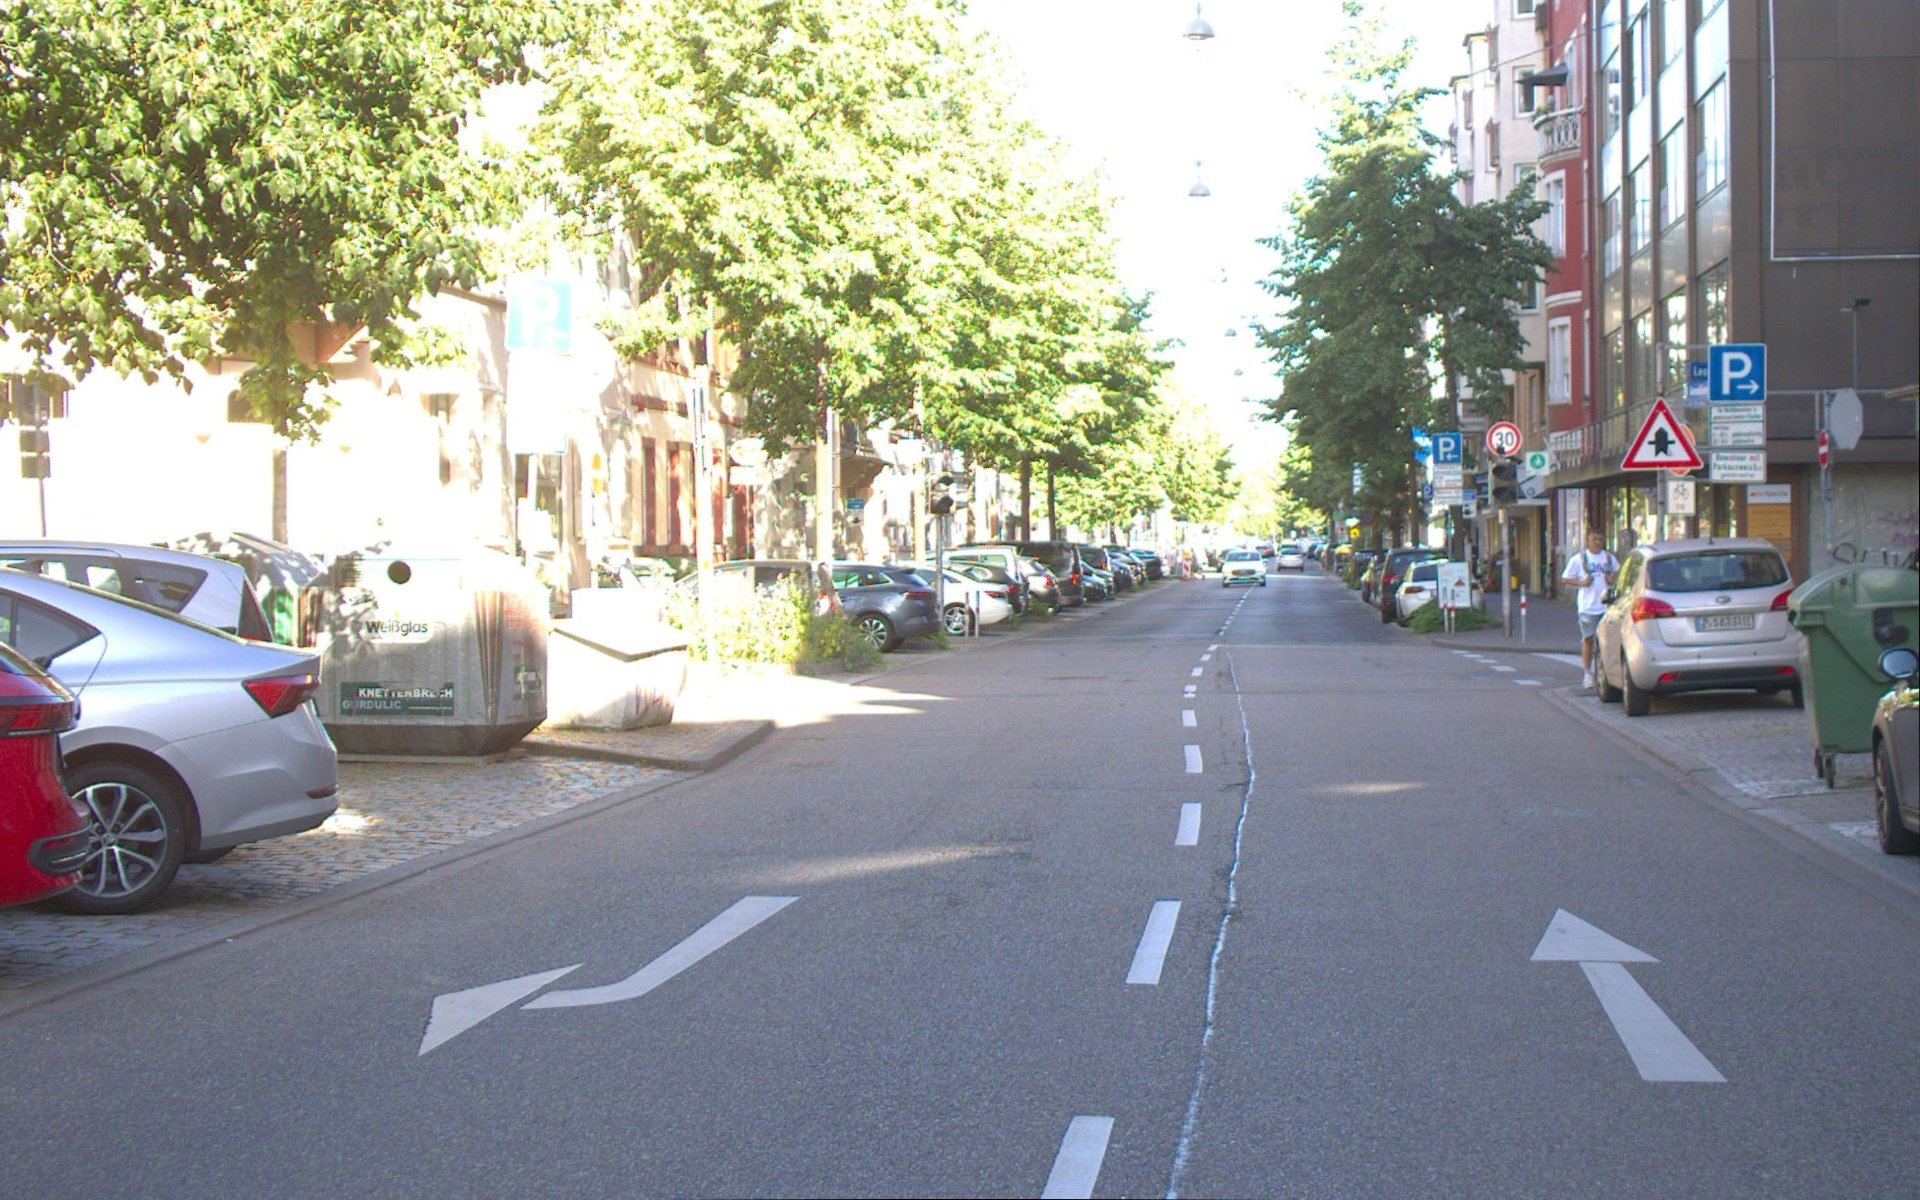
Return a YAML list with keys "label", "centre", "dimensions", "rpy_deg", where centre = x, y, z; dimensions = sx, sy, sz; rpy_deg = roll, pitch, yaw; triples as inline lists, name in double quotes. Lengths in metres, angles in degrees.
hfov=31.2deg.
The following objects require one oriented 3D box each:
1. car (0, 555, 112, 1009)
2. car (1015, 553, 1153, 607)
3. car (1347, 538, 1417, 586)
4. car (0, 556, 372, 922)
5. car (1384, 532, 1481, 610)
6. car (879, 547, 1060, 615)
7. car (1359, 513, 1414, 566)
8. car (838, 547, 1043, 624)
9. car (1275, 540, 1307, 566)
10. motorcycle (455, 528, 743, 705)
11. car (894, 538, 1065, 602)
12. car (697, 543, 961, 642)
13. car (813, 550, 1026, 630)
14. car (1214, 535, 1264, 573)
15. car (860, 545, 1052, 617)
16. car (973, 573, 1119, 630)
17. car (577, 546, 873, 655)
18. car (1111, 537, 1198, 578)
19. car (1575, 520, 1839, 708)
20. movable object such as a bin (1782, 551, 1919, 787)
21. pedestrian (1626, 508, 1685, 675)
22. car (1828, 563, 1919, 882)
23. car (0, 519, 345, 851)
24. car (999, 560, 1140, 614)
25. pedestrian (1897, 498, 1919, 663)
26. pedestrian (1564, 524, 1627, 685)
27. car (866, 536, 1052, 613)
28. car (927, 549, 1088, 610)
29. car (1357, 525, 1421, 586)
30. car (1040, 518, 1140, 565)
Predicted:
- label: "car"
  centre: [-5.372, 0.560, 11.419]
  dimensions: [4.833, 1.483, 1.765]
  rpy_deg: [1, 0, -18]
- label: "car"
  centre: [3.828, -0.612, 105.816]
  dimensions: [3.988, 1.503, 1.999]
  rpy_deg: [2, 0, 9]
- label: "car"
  centre: [13.075, -1.181, 106.705]
  dimensions: [1.994, 1.448, 3.999]
  rpy_deg: [0, 1, 5]
- label: "car"
  centre: [-4.763, 0.539, 14.347]
  dimensions: [4.220, 1.472, 1.736]
  rpy_deg: [1, 0, -25]
- label: "car"
  centre: [10.244, -0.610, 74.496]
  dimensions: [1.994, 1.612, 4.009]
  rpy_deg: [1, 0, 8]
- label: "car"
  centre: [0.242, -0.452, 80.197]
  dimensions: [3.988, 1.503, 1.999]
  rpy_deg: [1, 0, 7]
- label: "car"
  centre: [16.598, -2.347, 133.898]
  dimensions: [1.994, 2.007, 3.999]
  rpy_deg: [0, 1, 5]
- label: "car"
  centre: [-0.378, -0.299, 70.413]
  dimensions: [3.988, 1.503, 1.999]
  rpy_deg: [1, 0, 7]
- label: "car"
  centre: [20.528, -2.898, 213.115]
  dimensions: [1.871, 1.550, 3.999]
  rpy_deg: [1, 0, 6]
- label: "motorcycle"
  centre: [-3.372, 0.158, 32.068]
  dimensions: [2.475, 1.599, 0.998]
  rpy_deg: [-1, 1, 24]
- label: "car"
  centre: [0.504, -0.739, 84.113]
  dimensions: [3.988, 1.503, 1.894]
  rpy_deg: [1, 0, 7]
- label: "car"
  centre: [-2.085, -0.125, 55.451]
  dimensions: [3.988, 1.503, 1.999]
  rpy_deg: [1, 0, 7]
- label: "car"
  centre: [-0.774, -0.196, 68.136]
  dimensions: [3.988, 1.503, 1.999]
  rpy_deg: [1, 0, 7]
- label: "car"
  centre: [11.775, -1.927, 145.063]
  dimensions: [1.994, 1.550, 3.999]
  rpy_deg: [1, 0, 6]
- label: "car"
  centre: [-0.065, -0.430, 75.438]
  dimensions: [3.988, 1.503, 1.999]
  rpy_deg: [1, 0, 7]
- label: "car"
  centre: [2.523, 0.047, 100.197]
  dimensions: [3.988, 1.503, 1.999]
  rpy_deg: [2, 0, 9]
- label: "car"
  centre: [-3.392, -0.005, 50.096]
  dimensions: [3.988, 1.503, 1.999]
  rpy_deg: [1, 0, 7]
- label: "car"
  centre: [9.637, -2.094, 170.222]
  dimensions: [3.990, 2.007, 1.999]
  rpy_deg: [0, 1, 15]
- label: "car"
  centre: [7.167, 0.123, 33.412]
  dimensions: [1.899, 1.669, 4.824]
  rpy_deg: [1, 0, 5]
- label: "movable object such as a bin"
  centre: [6.108, 0.434, 22.914]
  dimensions: [1.074, 1.452, 1.492]
  rpy_deg: [-3, 1, 10]
- label: "pedestrian"
  centre: [7.456, -0.091, 36.862]
  dimensions: [0.512, 1.774, 0.612]
  rpy_deg: [1, 0, 4]
- label: "car"
  centre: [5.284, 0.563, 16.400]
  dimensions: [1.678, 1.443, 3.784]
  rpy_deg: [1, 0, 6]
- label: "car"
  centre: [-5.259, 0.390, 17.026]
  dimensions: [3.986, 1.580, 1.831]
  rpy_deg: [1, 0, -26]
- label: "car"
  centre: [3.312, -0.393, 103.402]
  dimensions: [3.988, 1.503, 1.999]
  rpy_deg: [2, 0, 9]
- label: "pedestrian"
  centre: [11.103, -0.219, 39.220]
  dimensions: [0.646, 1.865, 0.626]
  rpy_deg: [1, 0, 28]
- label: "pedestrian"
  centre: [6.943, 0.049, 37.557]
  dimensions: [0.614, 1.729, 0.634]
  rpy_deg: [1, 0, 7]
- label: "car"
  centre: [0.007, -0.573, 77.927]
  dimensions: [3.988, 1.668, 2.088]
  rpy_deg: [1, 0, 7]
- label: "car"
  centre: [1.242, -0.542, 88.683]
  dimensions: [3.988, 1.503, 2.000]
  rpy_deg: [1, 0, 6]
- label: "car"
  centre: [14.608, -1.516, 117.216]
  dimensions: [1.994, 2.007, 3.999]
  rpy_deg: [-2, 1, 5]
- label: "car"
  centre: [5.664, -2.546, 149.895]
  dimensions: [3.990, 2.007, 1.999]
  rpy_deg: [0, 1, 15]
